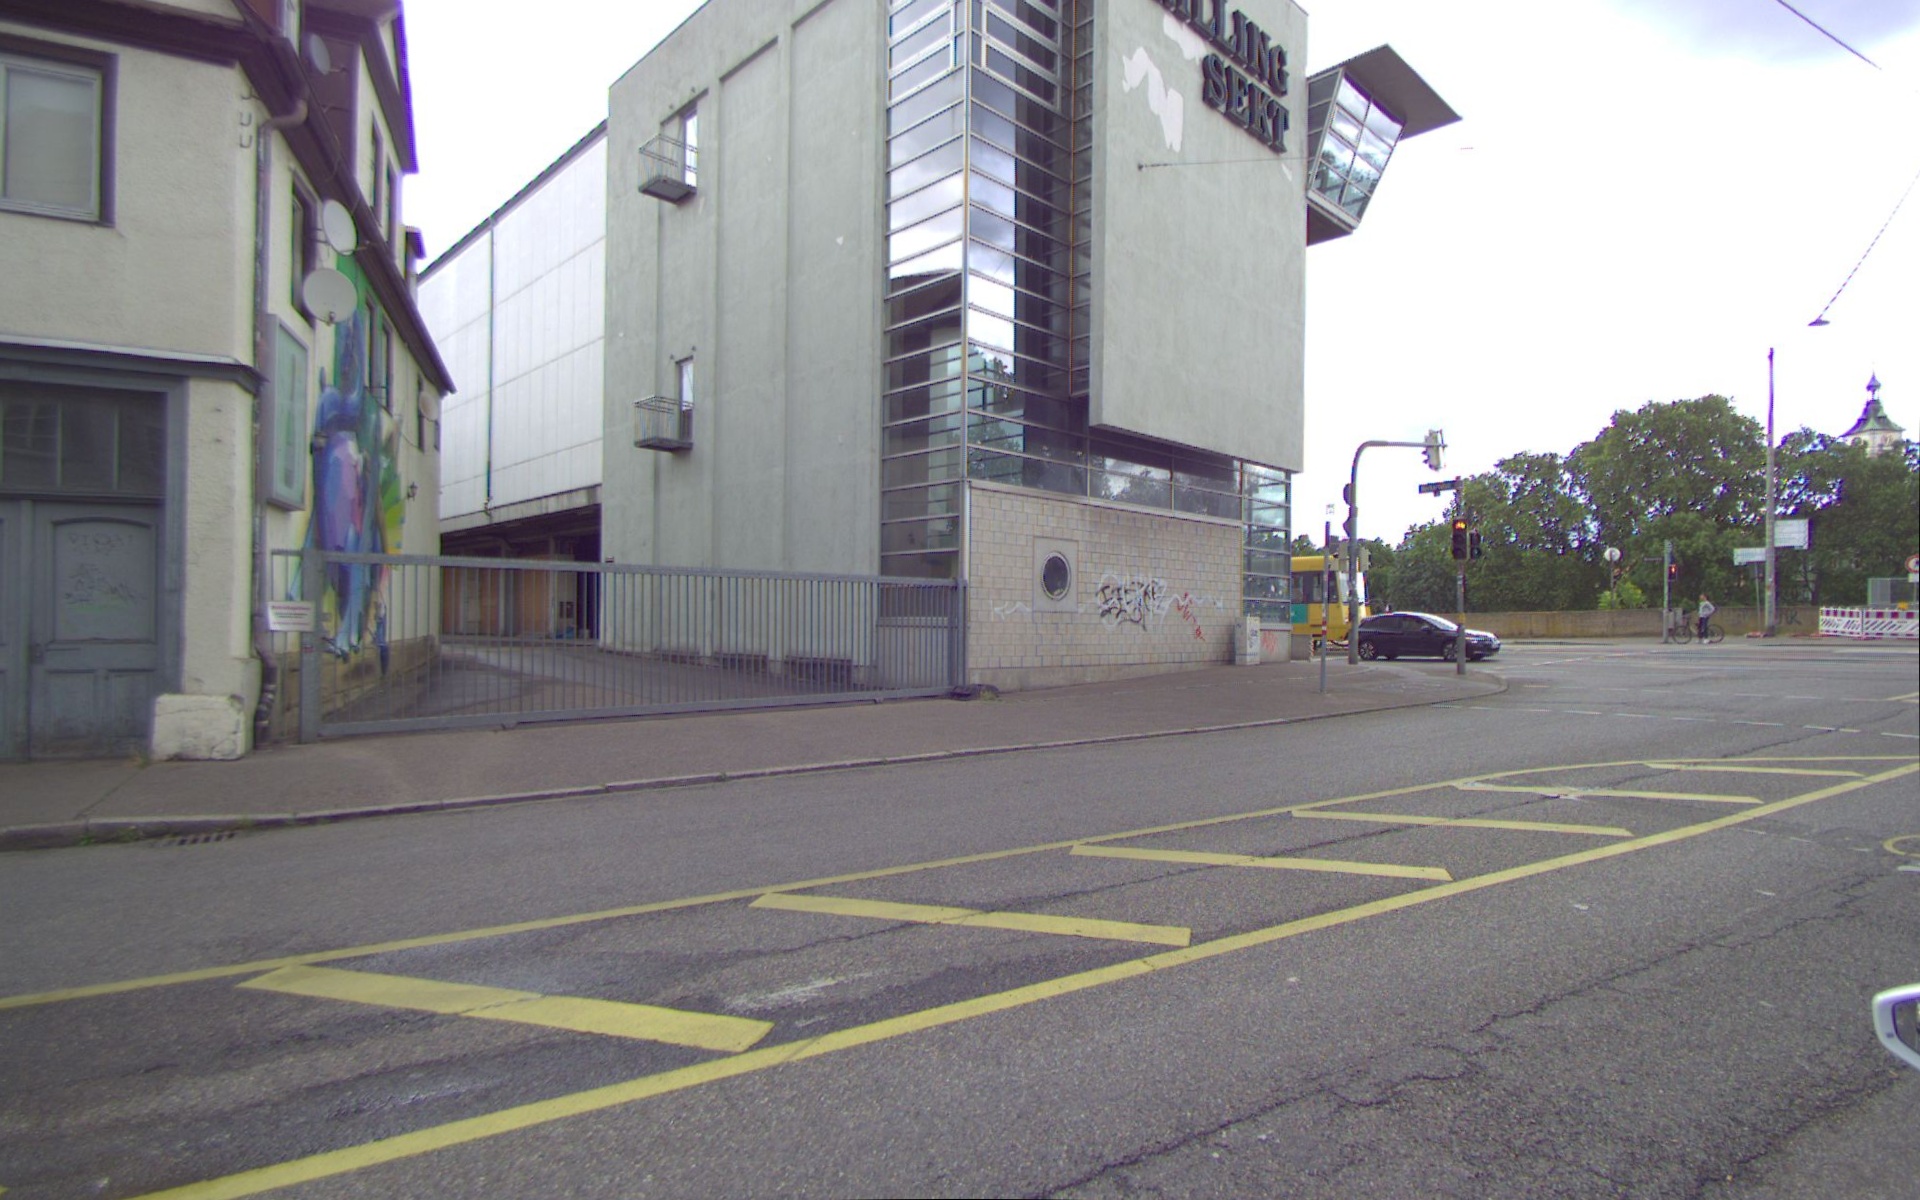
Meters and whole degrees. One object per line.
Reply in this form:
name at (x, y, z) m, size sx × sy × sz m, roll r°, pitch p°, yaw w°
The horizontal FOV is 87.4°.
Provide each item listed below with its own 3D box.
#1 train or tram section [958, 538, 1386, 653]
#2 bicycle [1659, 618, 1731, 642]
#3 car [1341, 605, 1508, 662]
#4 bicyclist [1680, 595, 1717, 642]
train or tram section at (7.971, 0.093, 42.751) m, size 18.558 × 4.056 × 3.248 m, roll -2°, pitch 0°, yaw 41°
bicycle at (28.482, 1.152, 38.949) m, size 2.096 × 0.904 × 0.760 m, roll -1°, pitch 0°, yaw 20°
car at (14.069, 1.016, 30.595) m, size 1.856 × 1.595 × 4.237 m, roll -1°, pitch -1°, yaw -40°
bicyclist at (28.584, 0.702, 38.899) m, size 0.985 × 1.767 × 0.755 m, roll 0°, pitch 0°, yaw 19°
